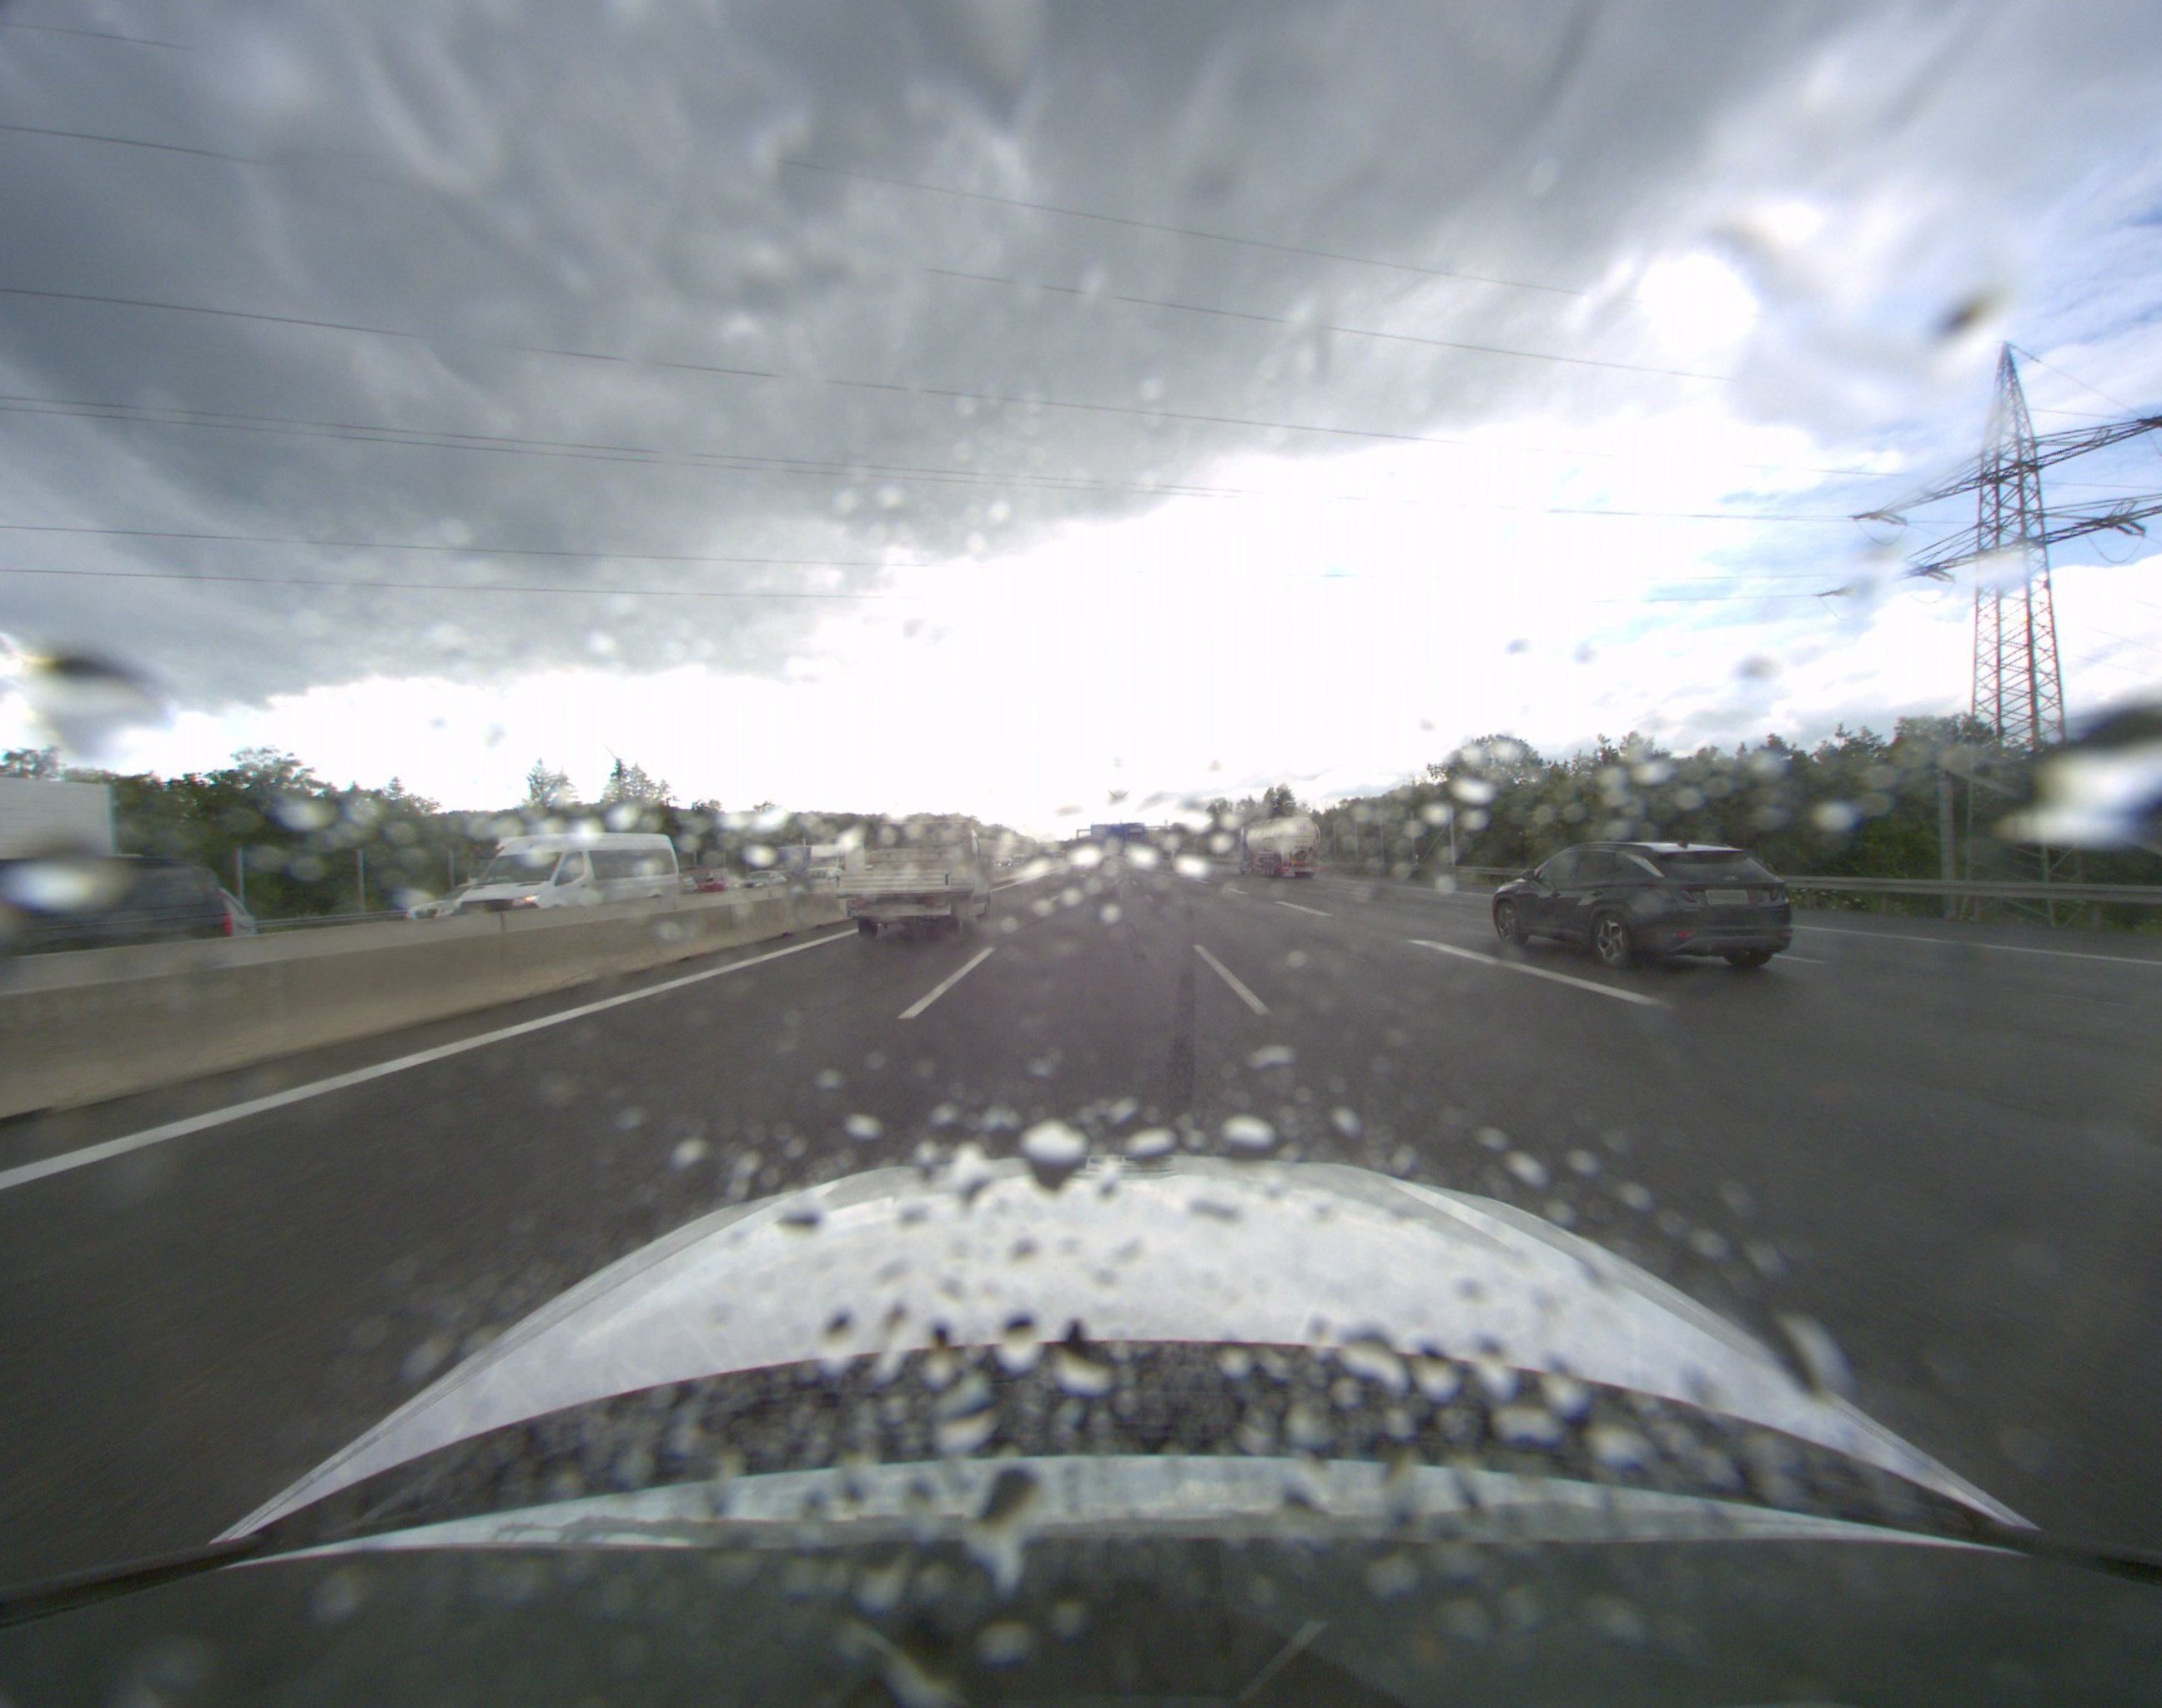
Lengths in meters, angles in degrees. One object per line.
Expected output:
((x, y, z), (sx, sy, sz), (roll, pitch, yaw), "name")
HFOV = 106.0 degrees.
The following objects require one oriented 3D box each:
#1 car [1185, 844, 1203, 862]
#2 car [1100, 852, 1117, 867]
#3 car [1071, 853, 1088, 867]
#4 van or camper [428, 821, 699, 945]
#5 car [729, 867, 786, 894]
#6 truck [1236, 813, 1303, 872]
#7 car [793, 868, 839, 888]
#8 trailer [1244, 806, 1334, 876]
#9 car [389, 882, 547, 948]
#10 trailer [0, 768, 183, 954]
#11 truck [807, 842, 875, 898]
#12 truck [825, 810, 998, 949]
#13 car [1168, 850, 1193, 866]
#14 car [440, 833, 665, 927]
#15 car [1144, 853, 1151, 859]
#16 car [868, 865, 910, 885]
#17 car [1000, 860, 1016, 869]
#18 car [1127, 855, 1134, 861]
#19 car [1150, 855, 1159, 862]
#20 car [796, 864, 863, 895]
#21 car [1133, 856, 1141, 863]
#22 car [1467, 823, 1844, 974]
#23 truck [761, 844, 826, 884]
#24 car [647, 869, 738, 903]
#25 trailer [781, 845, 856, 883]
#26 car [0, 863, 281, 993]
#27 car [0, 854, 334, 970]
((16.330, -0.118, 117.678), (2.037, 2.498, 4.002), (-1, 0, 2), "car")
((3.334, 0.700, 98.246), (2.037, 1.699, 4.003), (-1, 0, 3), "car")
((-0.160, 0.779, 104.279), (2.037, 1.699, 4.002), (-1, 0, 2), "car")
((-13.182, 0.656, 21.711), (2.170, 2.705, 7.524), (-1, 0, 2), "van or camper")
((-20.397, 1.663, 51.579), (1.863, 1.544, 4.040), (-1, 0, 2), "car")
((13.780, -0.803, 60.307), (3.320, 4.080, 8.275), (-1, 0, 2), "truck")
((-22.299, 2.005, 68.801), (1.906, 1.544, 5.617), (-1, 0, 2), "car")
((13.580, -0.788, 54.412), (3.320, 4.175, 11.843), (-1, 0, 2), "trailer")
((-21.008, 2.014, 28.188), (1.986, 1.915, 4.444), (-1, 0, 2), "car")
((-21.513, 0.151, 12.083), (3.013, 3.433, 11.781), (-1, 0, 2), "trailer")
((-16.261, 1.051, 55.710), (2.175, 3.519, 7.494), (-1, 0, 2), "truck")
((-3.348, 0.426, 17.987), (2.346, 2.408, 7.355), (-1, 0, -1), "truck")
((10.686, 0.398, 88.043), (2.092, 1.699, 3.998), (-1, 0, -2), "car")
((-25.442, 1.131, 40.466), (3.190, 3.947, 11.662), (-1, 0, 2), "car")
((19.063, 0.534, 233.351), (2.037, 1.699, 4.003), (-1, 0, 3), "car")
((-12.680, 1.351, 54.036), (1.683, 1.234, 4.002), (-1, 0, 2), "car")
((-10.108, 1.467, 112.545), (1.683, 1.234, 4.002), (-1, 0, 2), "car")
((15.027, 1.321, 248.041), (1.861, 1.728, 4.002), (-1, 0, 2), "car")
((17.876, 1.071, 198.865), (1.986, 1.750, 4.498), (-1, 0, 2), "car")
((-12.029, 1.202, 39.211), (1.683, 1.334, 4.373), (-1, 0, 2), "car")
((13.910, 1.303, 202.796), (2.037, 1.699, 4.003), (-1, 0, 3), "car")
((7.725, 0.515, 11.780), (2.037, 1.699, 5.009), (-1, 0, 2), "car")
((-27.283, 0.921, 77.670), (3.126, 3.582, 7.668), (-1, 0, 2), "truck")
((-20.034, 1.605, 42.302), (1.906, 1.544, 5.506), (-1, 0, 2), "car")
((-27.017, 0.962, 84.614), (3.126, 3.582, 12.894), (-1, 0, 2), "trailer")
((-13.596, 0.899, 10.216), (1.873, 1.477, 5.173), (-1, 0, 2), "car")
((-17.953, 1.021, 16.318), (2.200, 2.001, 4.002), (-1, 0, 2), "car")
